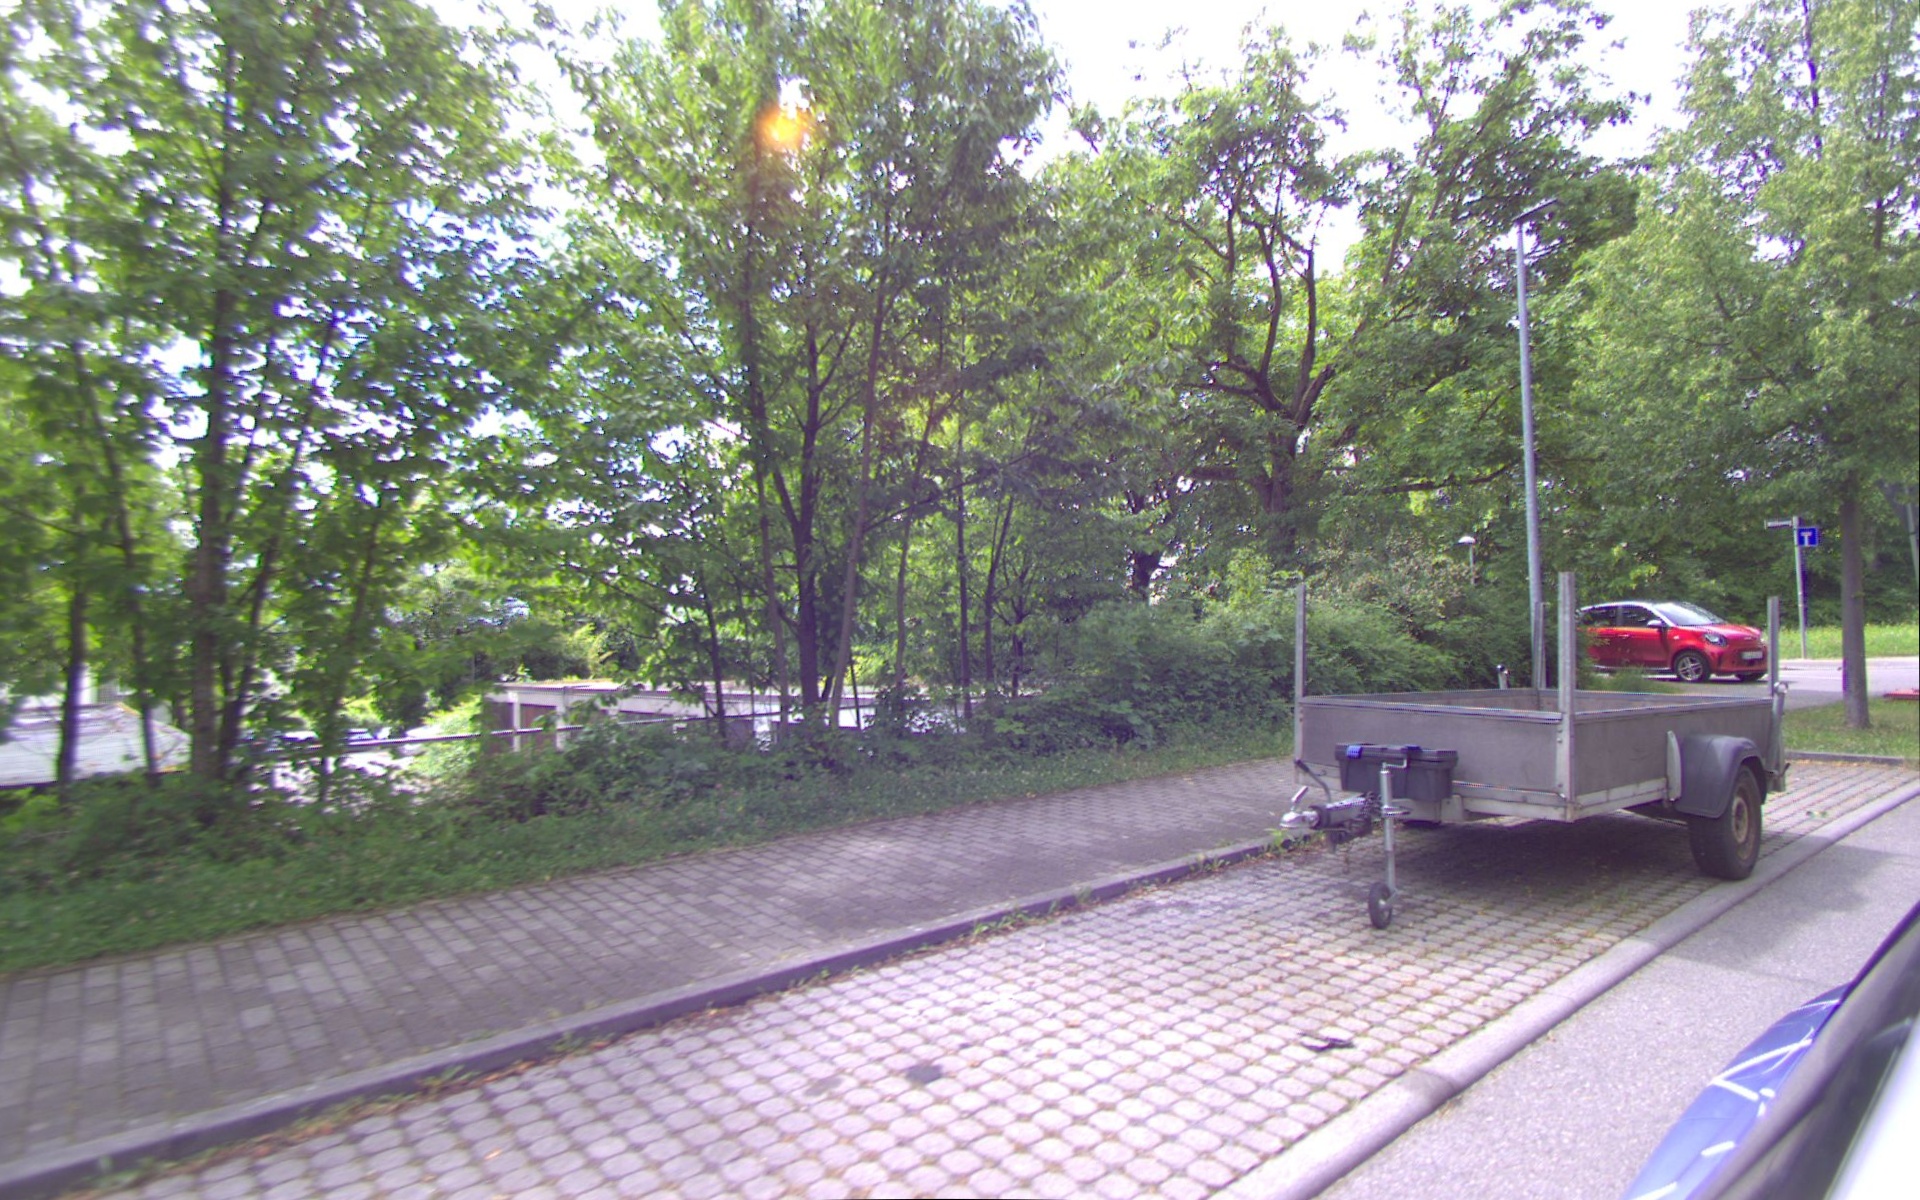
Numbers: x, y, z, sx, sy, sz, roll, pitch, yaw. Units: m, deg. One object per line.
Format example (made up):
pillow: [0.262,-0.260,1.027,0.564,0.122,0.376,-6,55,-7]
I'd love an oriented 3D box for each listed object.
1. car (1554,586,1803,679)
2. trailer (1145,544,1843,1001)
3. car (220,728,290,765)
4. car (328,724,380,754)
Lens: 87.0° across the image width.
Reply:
car: [13.446,0.584,19.186,1.617,1.537,3.494,-2,-1,-19]
trailer: [3.198,0.598,5.639,4.408,1.599,1.814,0,0,-38]
car: [-28.012,5.828,40.329,1.609,1.296,3.612,-1,-7,-24]
car: [-31.014,7.117,51.761,1.615,1.296,3.600,-1,-6,-42]
